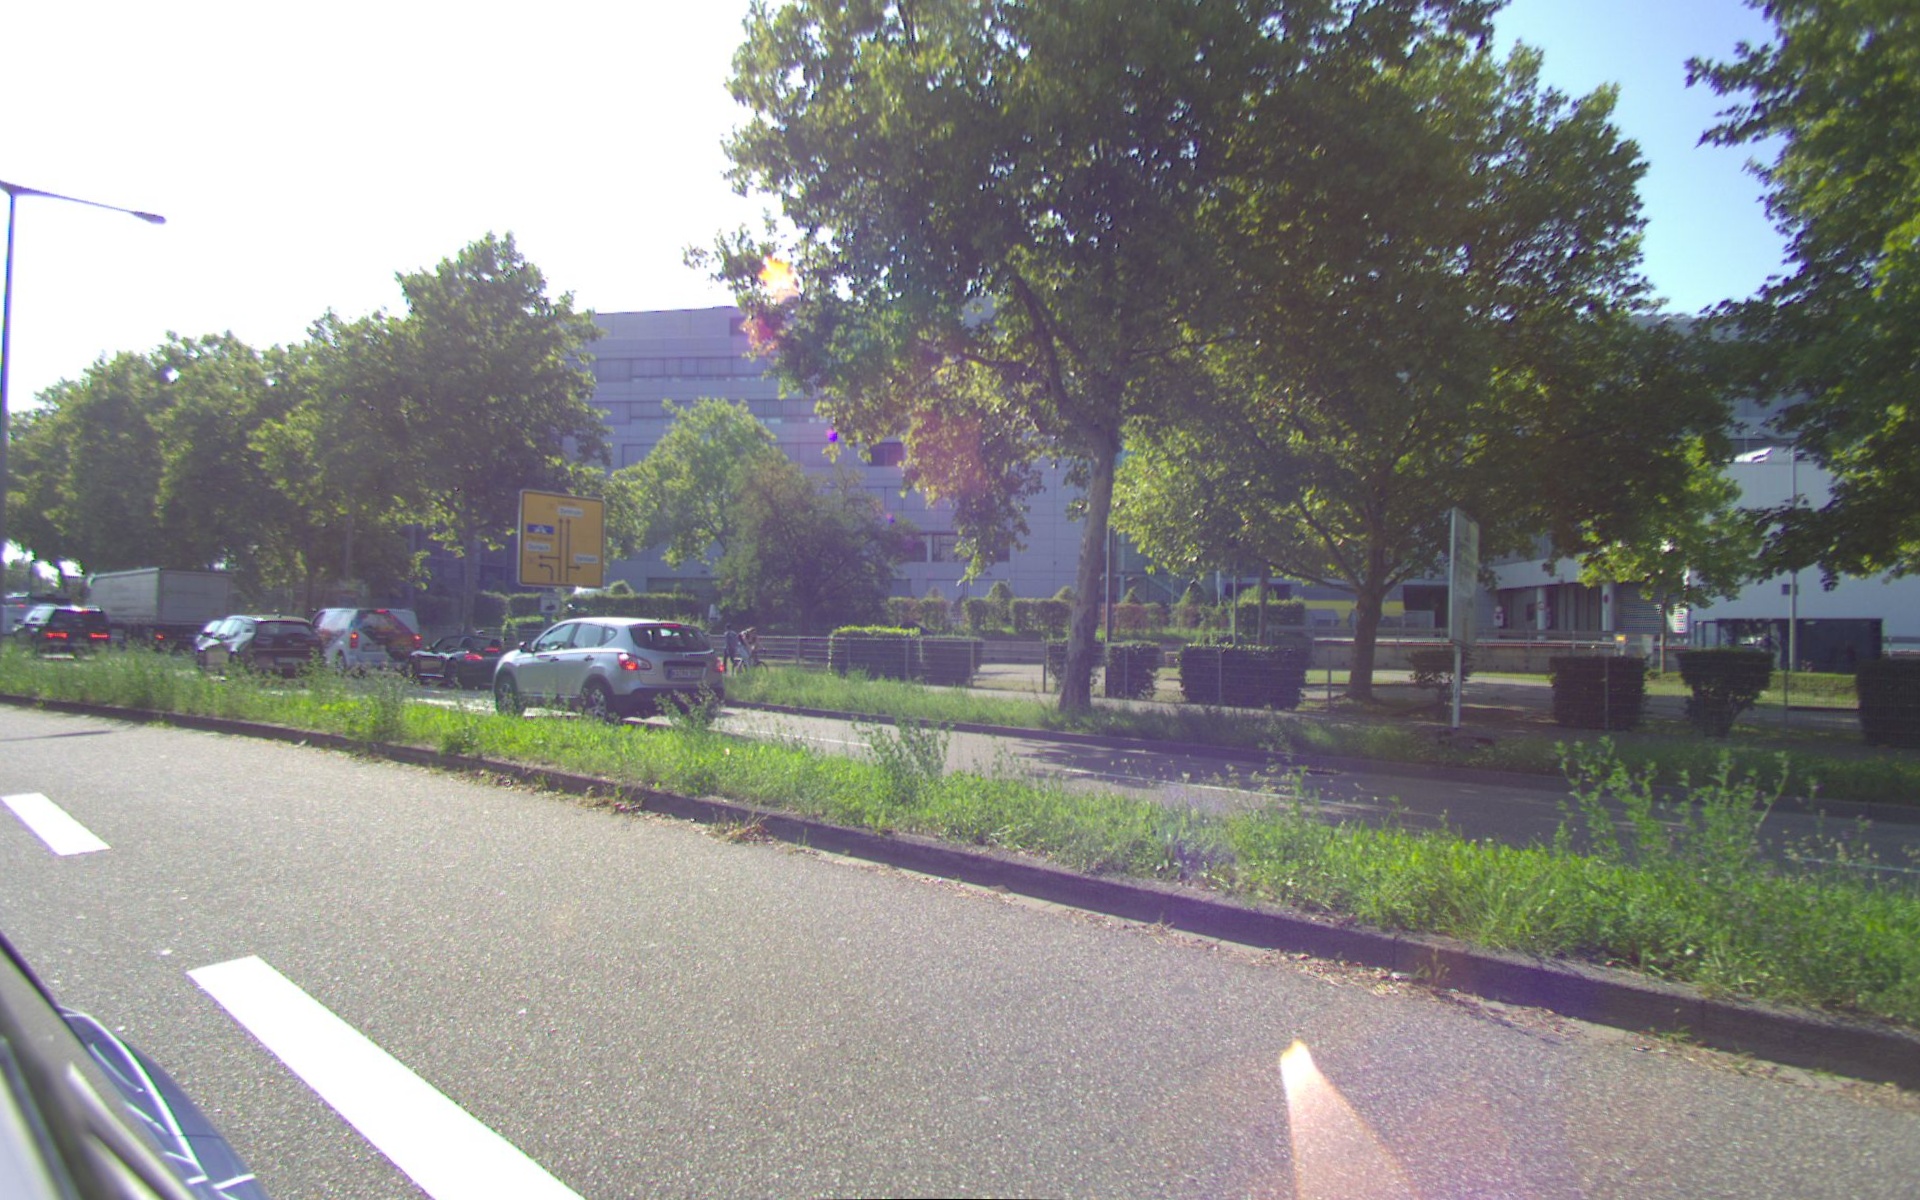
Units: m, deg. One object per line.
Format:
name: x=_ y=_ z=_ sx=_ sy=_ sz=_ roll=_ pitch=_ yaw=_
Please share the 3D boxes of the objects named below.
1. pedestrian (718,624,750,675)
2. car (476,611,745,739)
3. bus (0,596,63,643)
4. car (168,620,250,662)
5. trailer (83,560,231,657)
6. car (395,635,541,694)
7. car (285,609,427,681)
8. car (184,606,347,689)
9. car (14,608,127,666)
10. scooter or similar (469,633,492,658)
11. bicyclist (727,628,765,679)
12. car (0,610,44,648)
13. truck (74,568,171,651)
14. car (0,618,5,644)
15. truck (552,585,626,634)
pedestrian: x=-7.623 y=1.653 z=34.075 sx=0.933 sy=1.665 sz=0.610 roll=-1 pitch=-2 yaw=41
car: x=-5.180 y=0.999 z=14.769 sx=4.105 sy=1.606 sz=1.860 roll=-1 pitch=-3 yaw=40
bus: x=-65.802 y=1.378 z=71.176 sx=12.306 sy=3.103 sz=2.563 roll=-1 pitch=-2 yaw=41
car: x=-28.438 y=1.539 z=38.290 sx=3.829 sy=1.490 sz=1.727 roll=-1 pitch=-3 yaw=42
trailer: x=-37.025 y=0.474 z=46.324 sx=13.803 sy=3.851 sz=2.606 roll=-1 pitch=-4 yaw=41
car: x=-11.986 y=1.518 z=24.535 sx=4.095 sy=1.272 sz=1.771 roll=-1 pitch=-4 yaw=43
car: x=-17.298 y=1.264 z=28.883 sx=4.966 sy=1.873 sz=1.964 roll=-1 pitch=-4 yaw=41
car: x=-16.306 y=1.087 z=23.689 sx=4.303 sy=1.773 sz=1.973 roll=-1 pitch=-4 yaw=40
car: x=-29.321 y=1.205 z=33.326 sx=4.471 sy=1.773 sz=1.974 roll=-1 pitch=-3 yaw=38
scooter or similar: x=-22.916 y=2.160 z=48.351 sx=1.381 sy=1.136 sz=0.503 roll=-1 pitch=-2 yaw=42
bicyclist: x=-6.156 y=1.536 z=29.109 sx=0.839 sy=1.450 sz=0.641 roll=-1 pitch=-3 yaw=40
car: x=-50.419 y=1.531 z=53.711 sx=5.032 sy=1.968 sz=1.973 roll=-1 pitch=-3 yaw=40
truck: x=-41.856 y=0.539 z=50.533 sx=5.887 sy=3.849 sz=2.580 roll=-1 pitch=-4 yaw=41
car: x=-59.557 y=1.864 z=61.517 sx=4.137 sy=1.540 sz=1.677 roll=-1 pitch=-4 yaw=41
truck: x=-22.781 y=0.624 z=62.482 sx=2.209 sy=2.883 sz=5.900 roll=0 pitch=-1 yaw=3
